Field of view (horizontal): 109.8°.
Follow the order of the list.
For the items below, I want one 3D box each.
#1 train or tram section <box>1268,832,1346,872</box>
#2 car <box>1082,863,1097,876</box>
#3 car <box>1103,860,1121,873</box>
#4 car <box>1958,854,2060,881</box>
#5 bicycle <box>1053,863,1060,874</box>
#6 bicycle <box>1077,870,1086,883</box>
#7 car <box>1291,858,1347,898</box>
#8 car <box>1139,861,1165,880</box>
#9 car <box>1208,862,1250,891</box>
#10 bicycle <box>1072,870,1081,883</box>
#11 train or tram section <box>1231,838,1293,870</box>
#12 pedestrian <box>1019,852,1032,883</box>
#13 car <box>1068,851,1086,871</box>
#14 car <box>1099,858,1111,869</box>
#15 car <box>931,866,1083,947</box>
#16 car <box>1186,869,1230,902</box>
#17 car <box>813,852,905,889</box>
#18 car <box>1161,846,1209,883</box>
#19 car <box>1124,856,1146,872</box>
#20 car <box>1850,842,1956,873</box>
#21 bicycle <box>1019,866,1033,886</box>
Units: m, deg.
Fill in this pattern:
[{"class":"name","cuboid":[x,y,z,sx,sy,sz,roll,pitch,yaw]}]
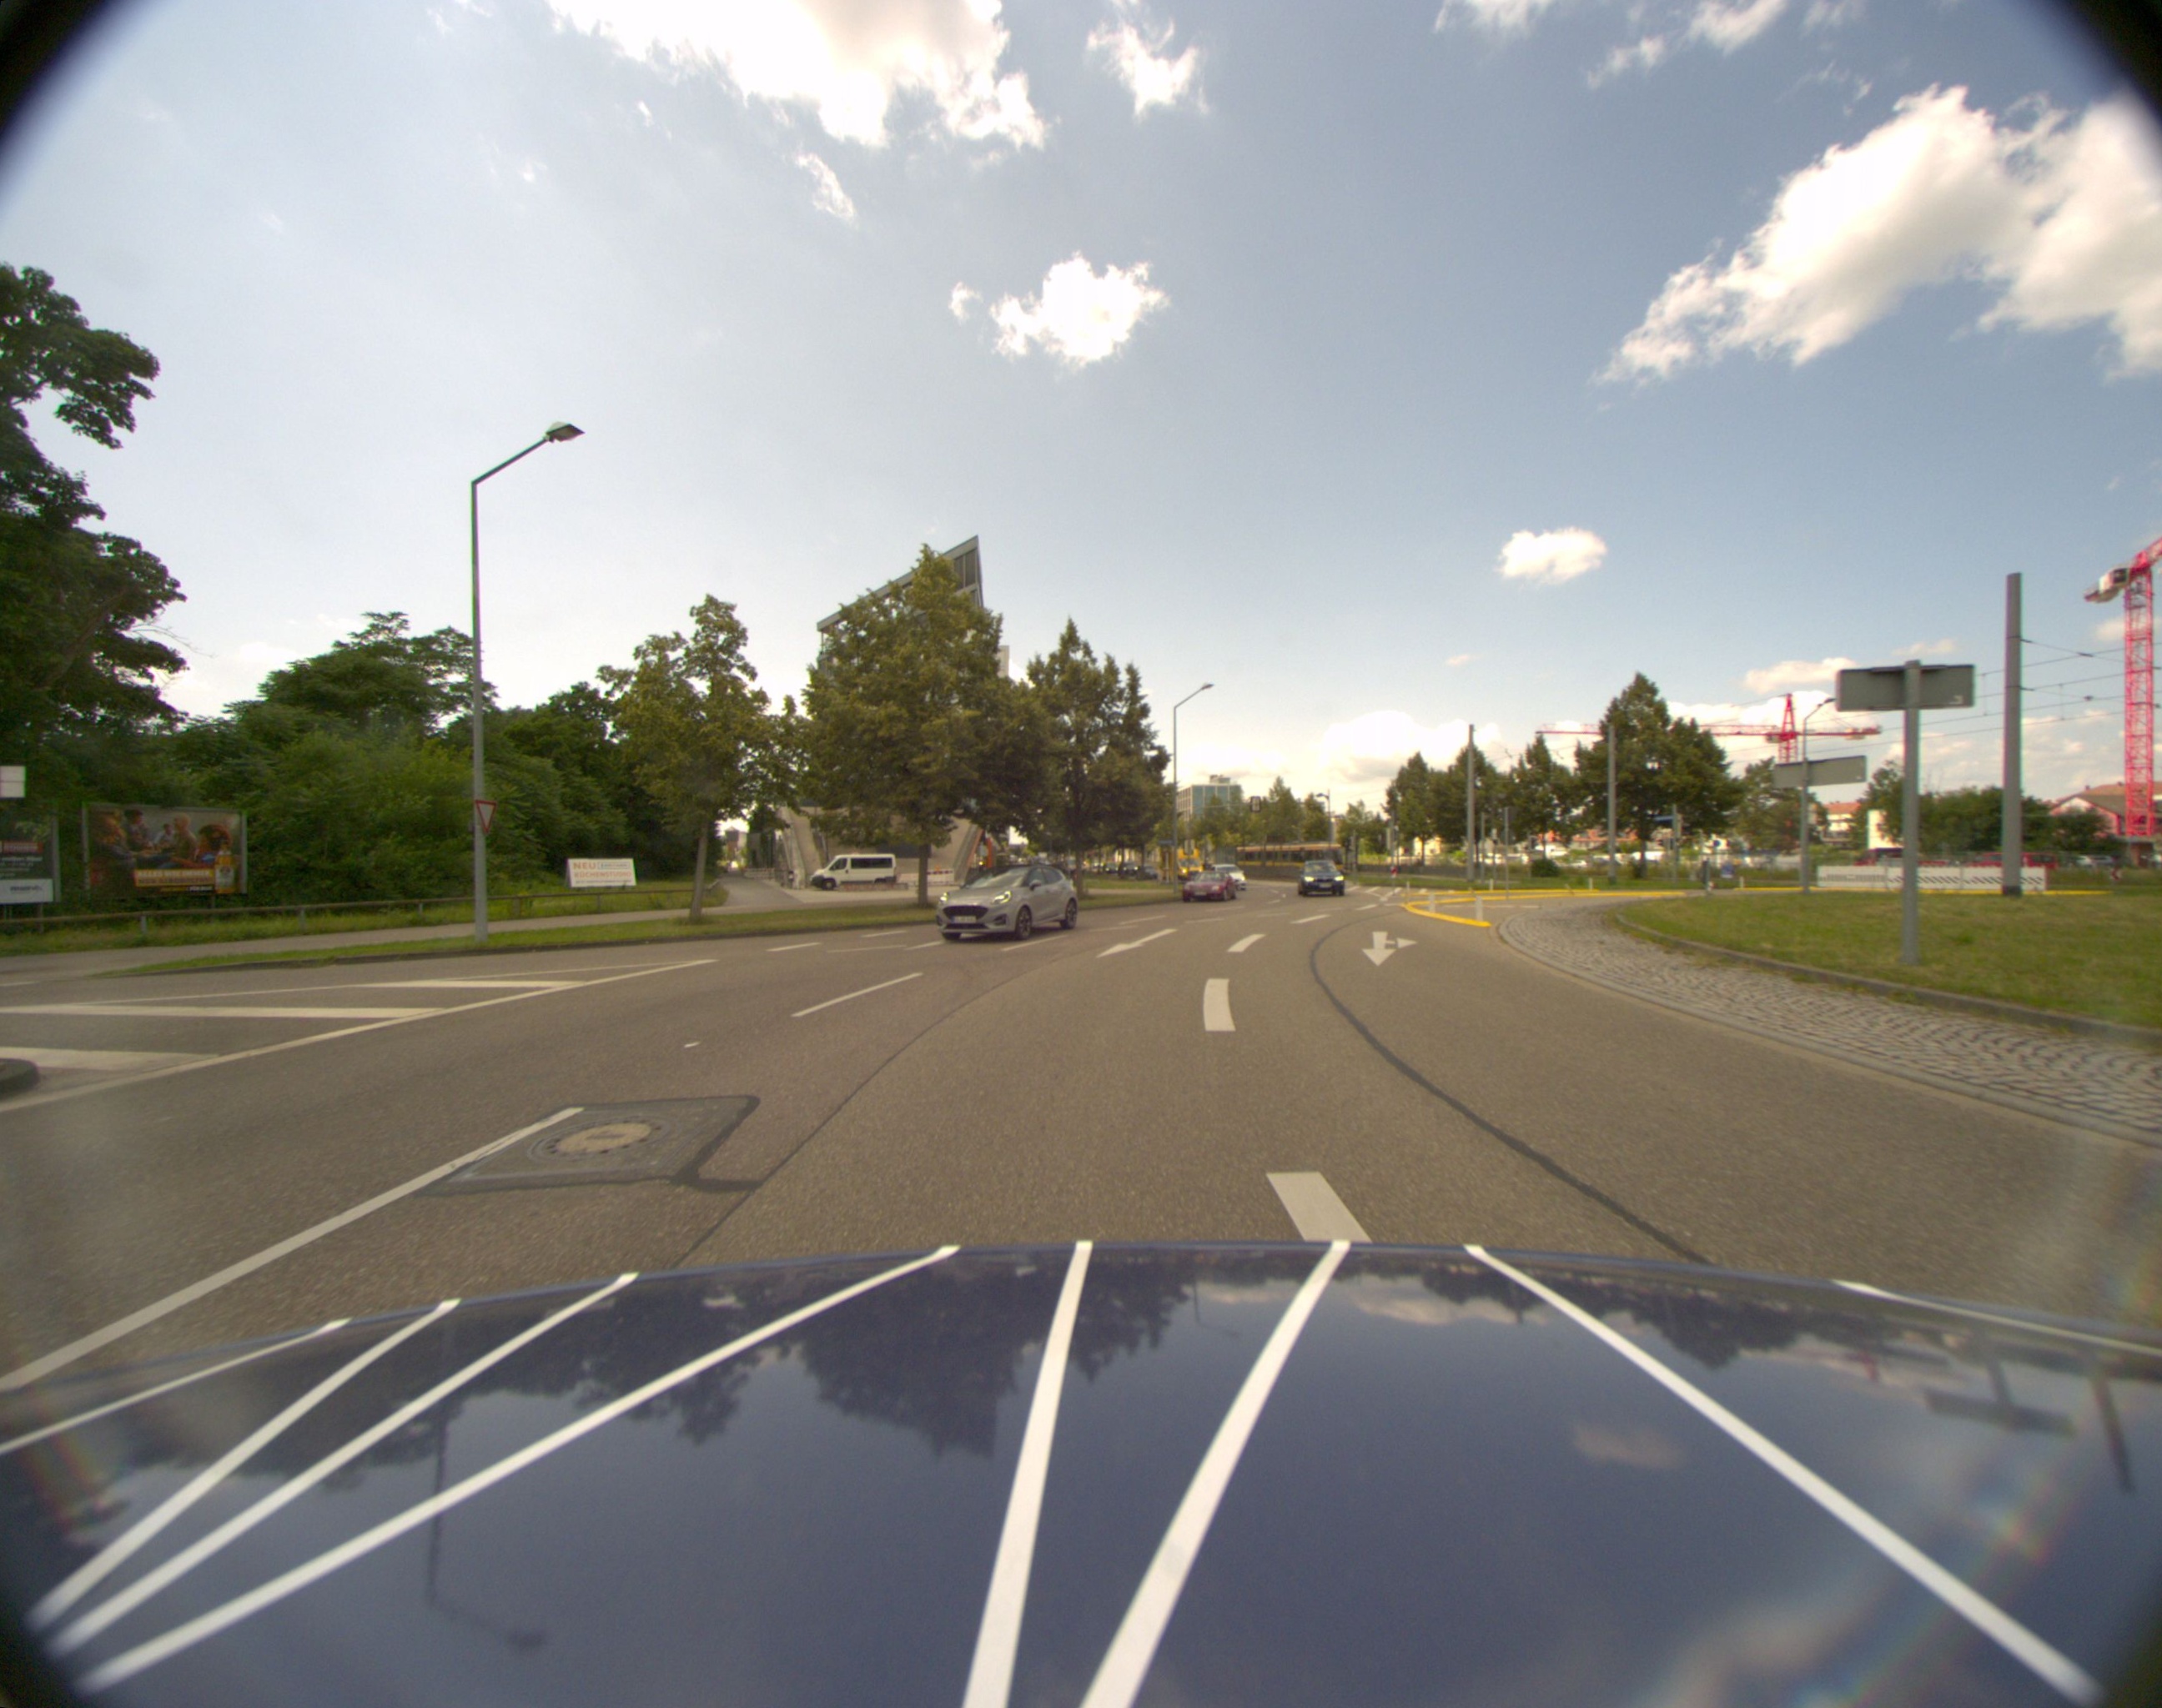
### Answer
[{"class":"train or tram section","cuboid":[22.812,-0.101,77.754,2.851,3.717,13.470,-1,0,-5]},{"class":"car","cuboid":[1.166,2.078,102.794,1.823,1.641,3.999,-2,0,-1]},{"class":"car","cuboid":[4.261,1.711,104.037,1.999,1.681,4.294,-2,0,-4]},{"class":"car","cuboid":[67.982,0.961,55.811,2.084,1.841,5.190,-1,0,14]},{"class":"bicycle","cuboid":[-2.455,1.446,75.987,0.516,1.082,1.747,0,0,-8]},{"class":"bicycle","cuboid":[0.025,1.506,51.027,0.358,0.821,1.472,-1,0,-11]},{"class":"car","cuboid":[10.959,1.046,35.232,1.773,1.589,4.129,-2,1,8]},{"class":"car","cuboid":[7.169,1.647,77.242,1.999,1.751,4.294,-2,0,-4]},{"class":"car","cuboid":[9.076,1.363,46.968,1.674,1.589,4.127,-2,0,-1]},{"class":"bicycle","cuboid":[-0.296,1.520,51.353,0.358,0.821,1.472,-1,0,-11]},{"class":"train or tram section","cuboid":[21.526,0.063,91.694,2.694,3.617,14.658,-1,0,-5]},{"class":"pedestrian","cuboid":[-3.693,0.876,50.434,0.755,2.002,1.231,-1,1,-7]},{"class":"car","cuboid":[-0.511,0.823,97.577,2.161,2.380,6.277,-2,0,-1]},{"class":"car","cuboid":[4.482,1.731,144.092,1.999,2.002,3.999,-2,0,0]},{"class":"car","cuboid":[-1.437,1.023,16.519,1.671,1.462,4.098,-1,0,20]},{"class":"car","cuboid":[5.549,1.316,32.823,1.672,1.254,4.096,-1,0,12]},{"class":"car","cuboid":[-13.732,1.017,47.027,5.158,2.135,2.145,-1,0,-24]},{"class":"car","cuboid":[8.432,0.823,62.480,2.285,2.836,7.252,-1,0,-5]},{"class":"car","cuboid":[6.302,1.156,89.014,1.999,1.751,4.294,-2,0,-4]},{"class":"car","cuboid":[61.207,0.281,56.779,2.389,2.184,6.848,-1,0,19]},{"class":"bicycle","cuboid":[-3.646,1.468,50.310,0.812,1.236,2.410,-2,-2,-6]}]
